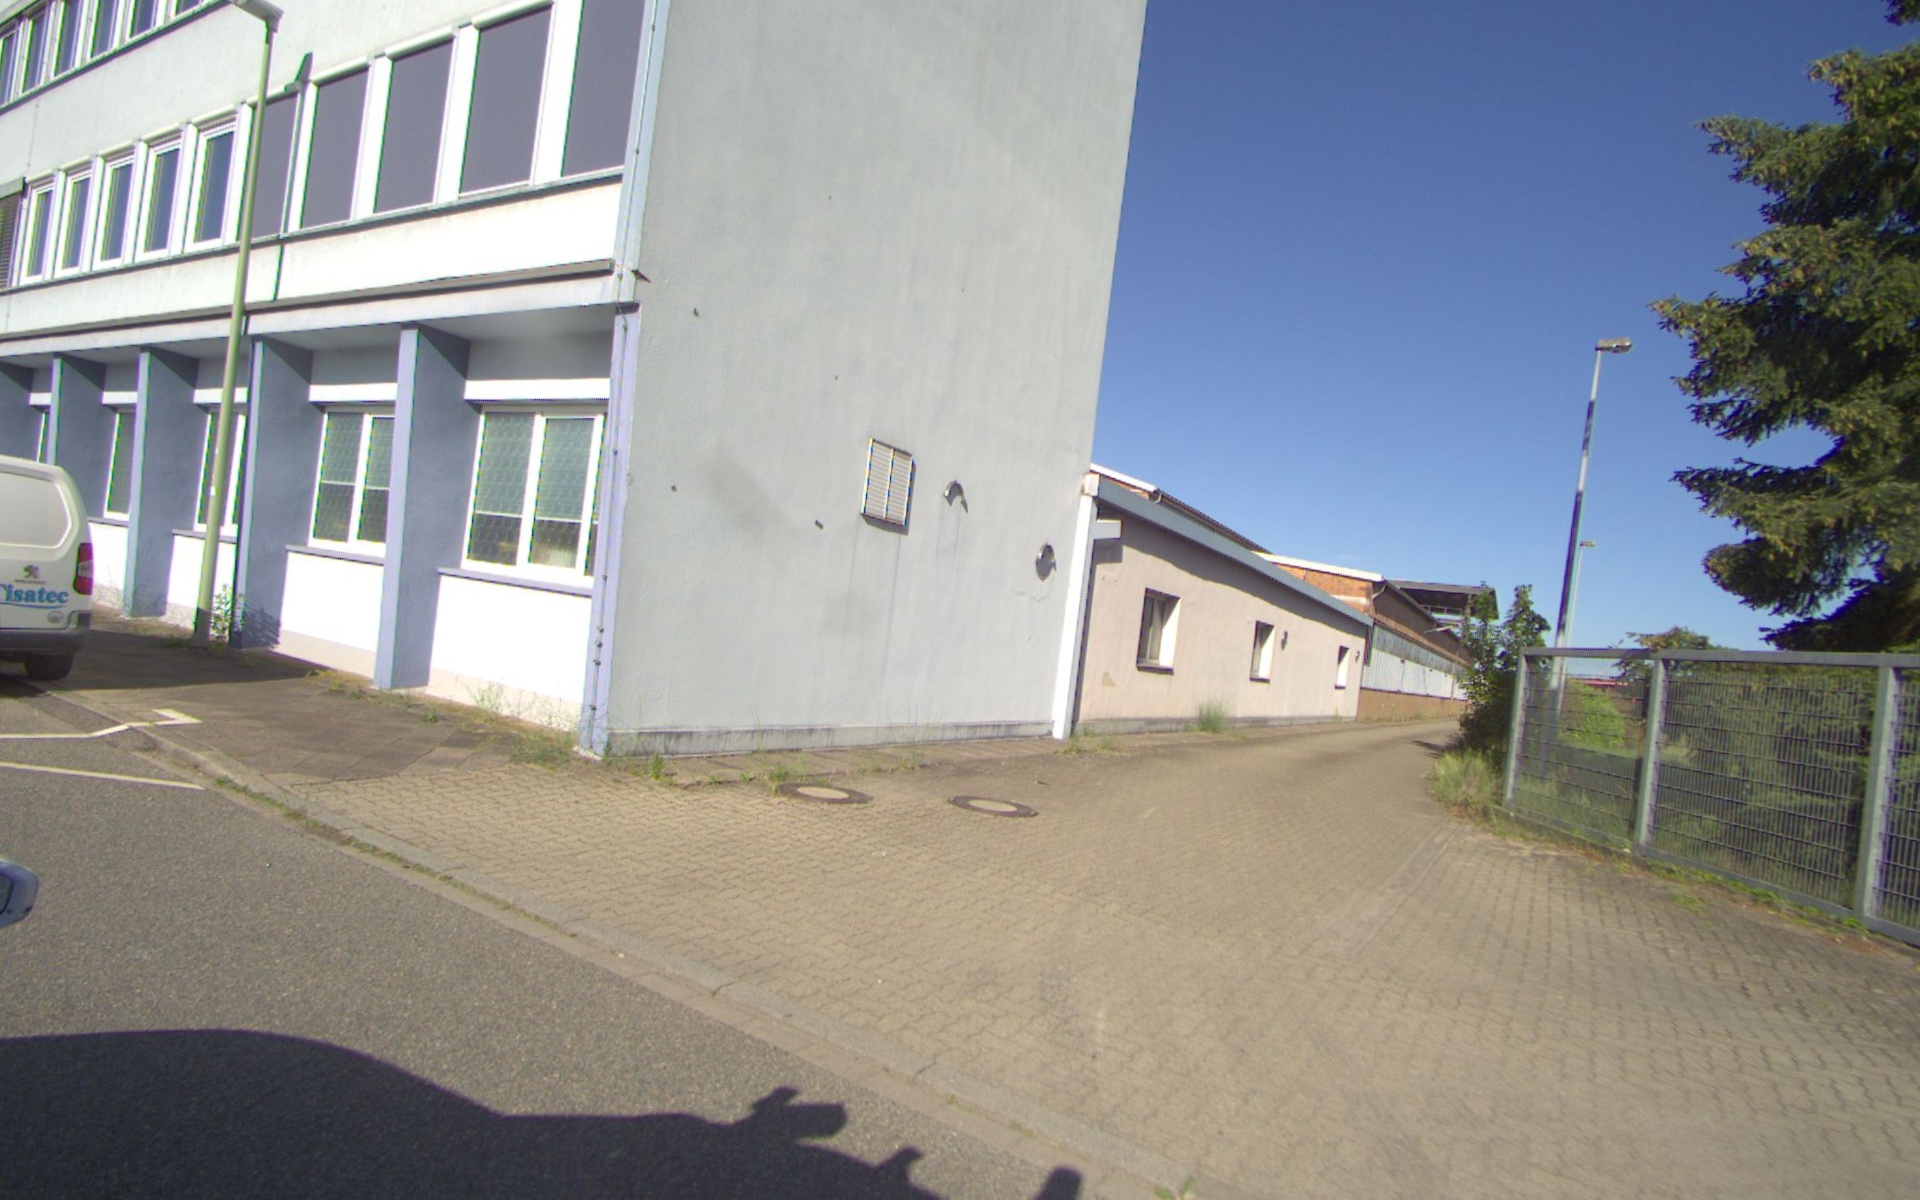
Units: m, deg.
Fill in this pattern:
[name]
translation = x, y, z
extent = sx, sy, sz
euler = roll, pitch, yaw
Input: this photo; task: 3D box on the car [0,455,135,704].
[car]
translation = -9.387, -0.407, 8.710
extent = 5.007, 1.853, 1.892
euler = 7, -1, 33
